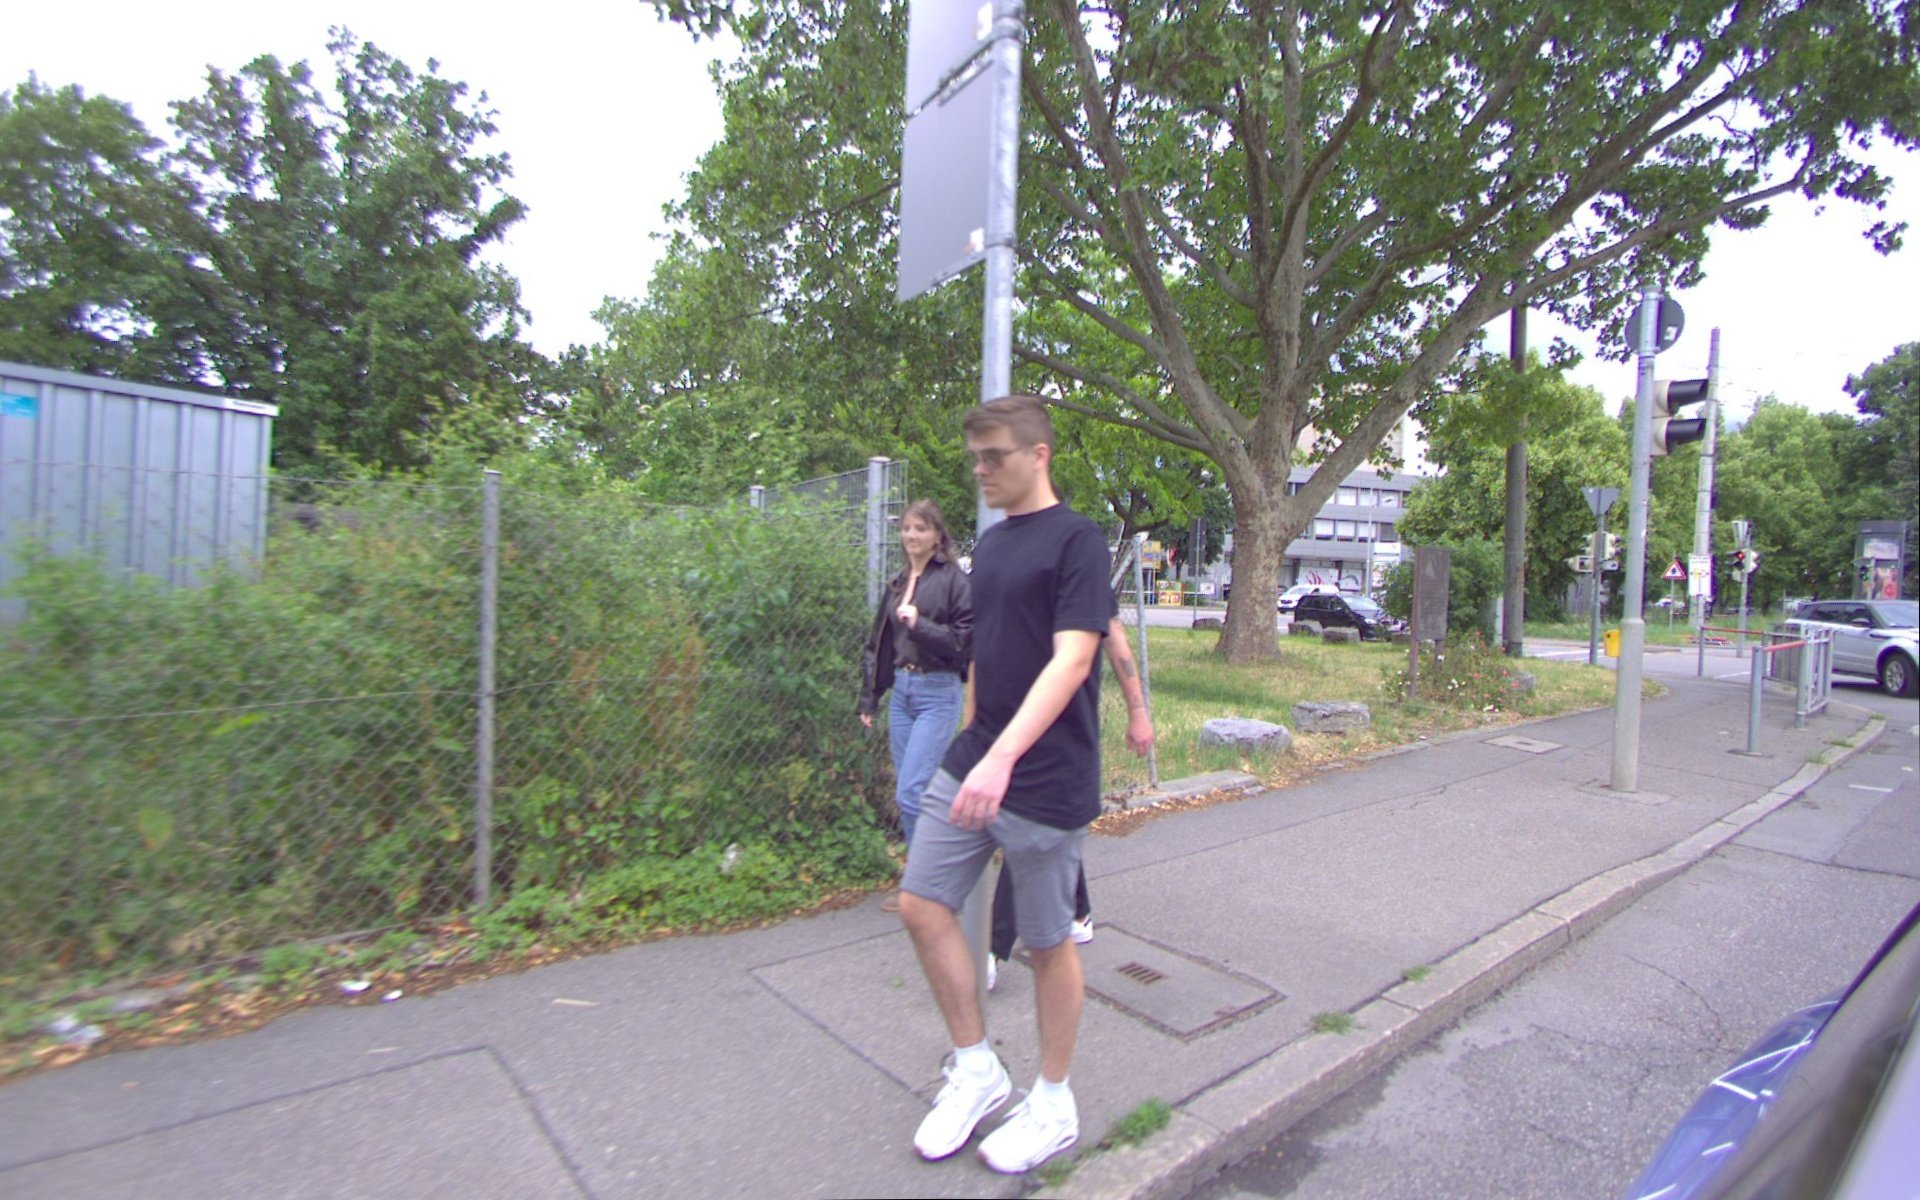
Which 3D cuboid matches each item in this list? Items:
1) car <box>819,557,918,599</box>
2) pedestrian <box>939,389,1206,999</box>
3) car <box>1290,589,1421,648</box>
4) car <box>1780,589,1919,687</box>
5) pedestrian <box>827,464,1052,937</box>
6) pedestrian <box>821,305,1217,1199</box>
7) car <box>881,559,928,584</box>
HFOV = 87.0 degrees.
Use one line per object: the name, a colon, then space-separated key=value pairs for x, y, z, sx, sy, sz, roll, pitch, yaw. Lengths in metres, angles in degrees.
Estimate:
car: x=-4.709 y=-1.127 z=52.134 sx=4.703 sy=1.969 sz=1.837 roll=1 pitch=1 yaw=-26
pedestrian: x=0.391 y=0.281 z=3.571 sx=0.660 sy=1.890 sz=0.604 roll=0 pitch=2 yaw=-41
car: x=13.677 y=0.601 z=35.244 sx=1.794 sy=1.794 sz=4.239 roll=3 pitch=0 yaw=-21
car: x=16.865 y=0.609 z=17.907 sx=1.887 sy=1.589 sz=4.101 roll=0 pitch=1 yaw=11
pedestrian: x=-0.077 y=0.339 z=4.074 sx=0.660 sy=1.709 sz=0.604 roll=-4 pitch=5 yaw=-40
pedestrian: x=0.140 y=0.376 z=2.329 sx=0.660 sy=1.889 sz=0.604 roll=-4 pitch=5 yaw=-40
car: x=-3.892 y=-2.021 z=70.391 sx=1.958 sy=1.474 sz=4.713 roll=-2 pitch=4 yaw=-20
